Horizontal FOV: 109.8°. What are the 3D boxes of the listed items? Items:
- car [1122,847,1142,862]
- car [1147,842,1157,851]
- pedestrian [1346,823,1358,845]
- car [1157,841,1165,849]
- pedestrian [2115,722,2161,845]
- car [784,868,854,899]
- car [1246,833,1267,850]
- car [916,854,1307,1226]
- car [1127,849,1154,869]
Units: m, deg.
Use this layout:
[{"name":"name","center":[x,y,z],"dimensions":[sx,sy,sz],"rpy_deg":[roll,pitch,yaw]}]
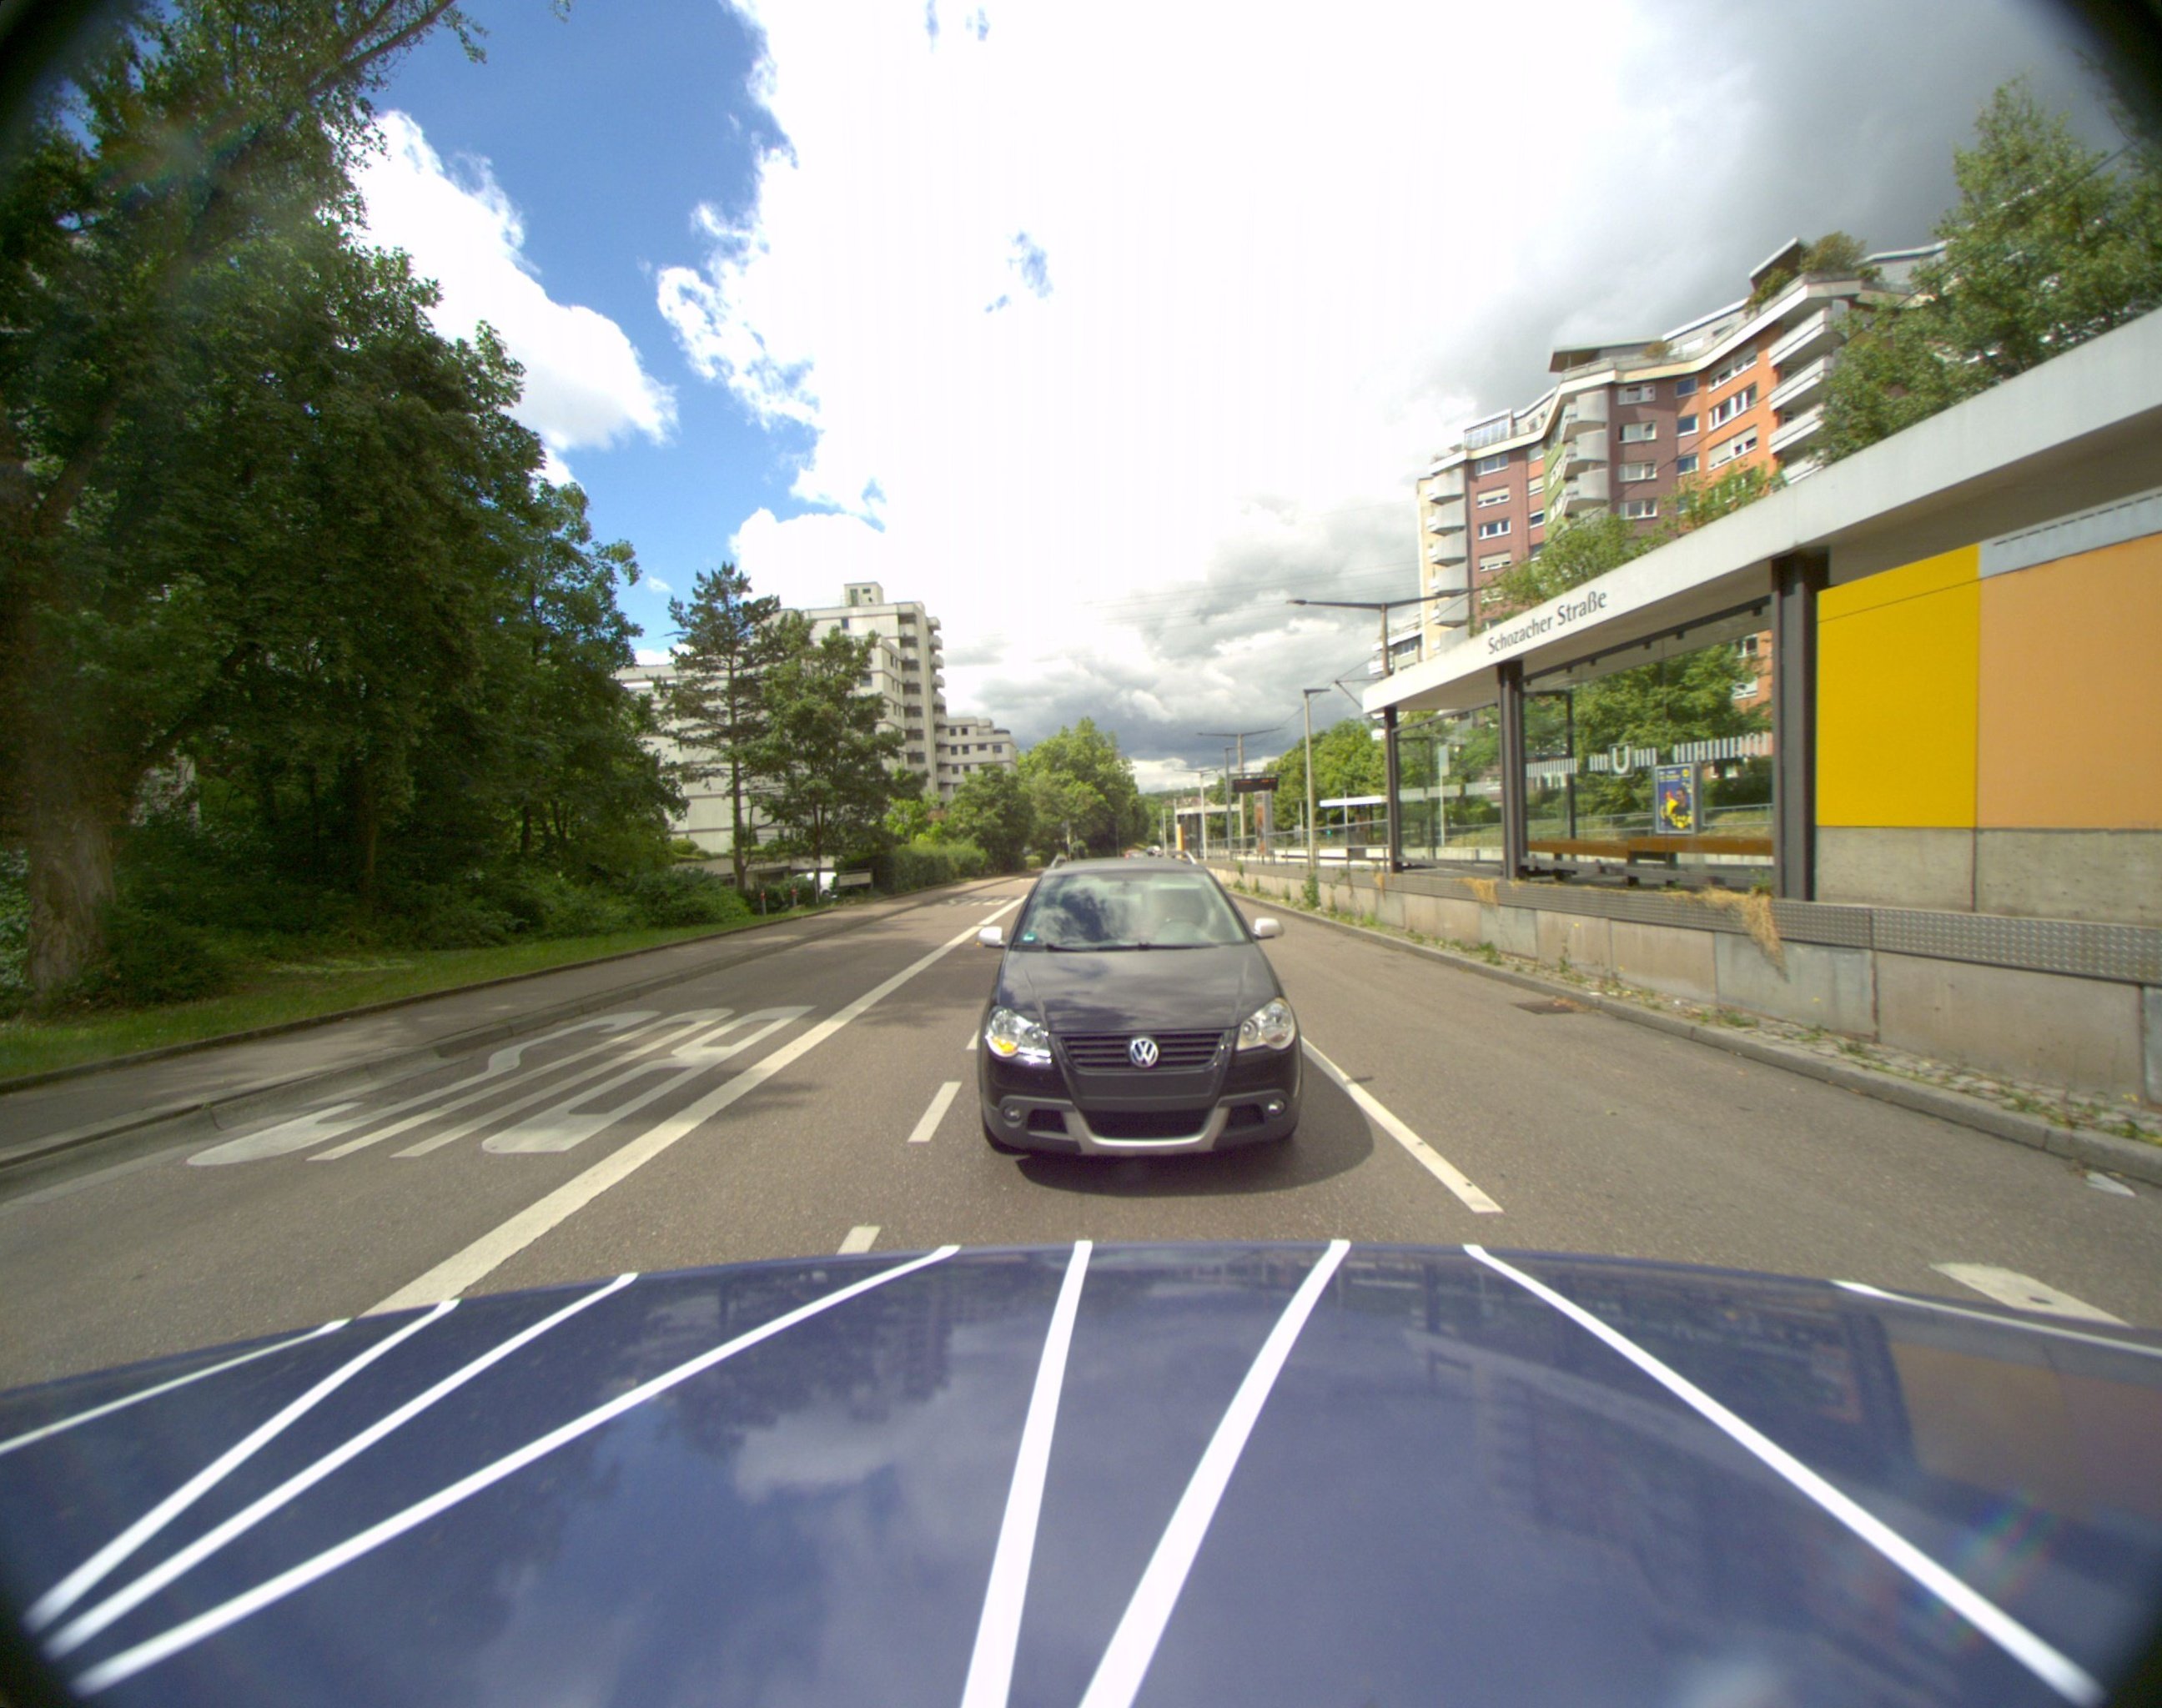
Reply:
[{"name":"car","center":[5.268,0.022,78.751],"dimensions":[1.821,1.377,4.065],"rpy_deg":[-2,1,2]},{"name":"car","center":[12.412,-1.307,133.039],"dimensions":[1.643,1.395,3.708],"rpy_deg":[-2,1,4]},{"name":"pedestrian","center":[16.034,-1.154,44.969],"dimensions":[0.536,1.270,0.562],"rpy_deg":[-2,1,9]},{"name":"car","center":[19.551,-2.170,186.053],"dimensions":[1.801,1.698,4.001],"rpy_deg":[-3,1,7]},{"name":"pedestrian","center":[15.079,-0.991,10.788],"dimensions":[0.354,1.703,0.426],"rpy_deg":[-3,2,-41]},{"name":"car","center":[-19.892,2.231,57.804],"dimensions":[4.543,2.002,2.001],"rpy_deg":[-2,1,7]},{"name":"car","center":[22.154,-1.599,96.147],"dimensions":[1.737,2.002,4.000],"rpy_deg":[-2,1,2]},{"name":"car","center":[0.222,0.825,5.303],"dimensions":[1.641,1.521,4.000],"rpy_deg":[-2,1,3]},{"name":"car","center":[4.516,0.344,57.942],"dimensions":[1.821,1.377,4.065],"rpy_deg":[-2,1,2]}]
